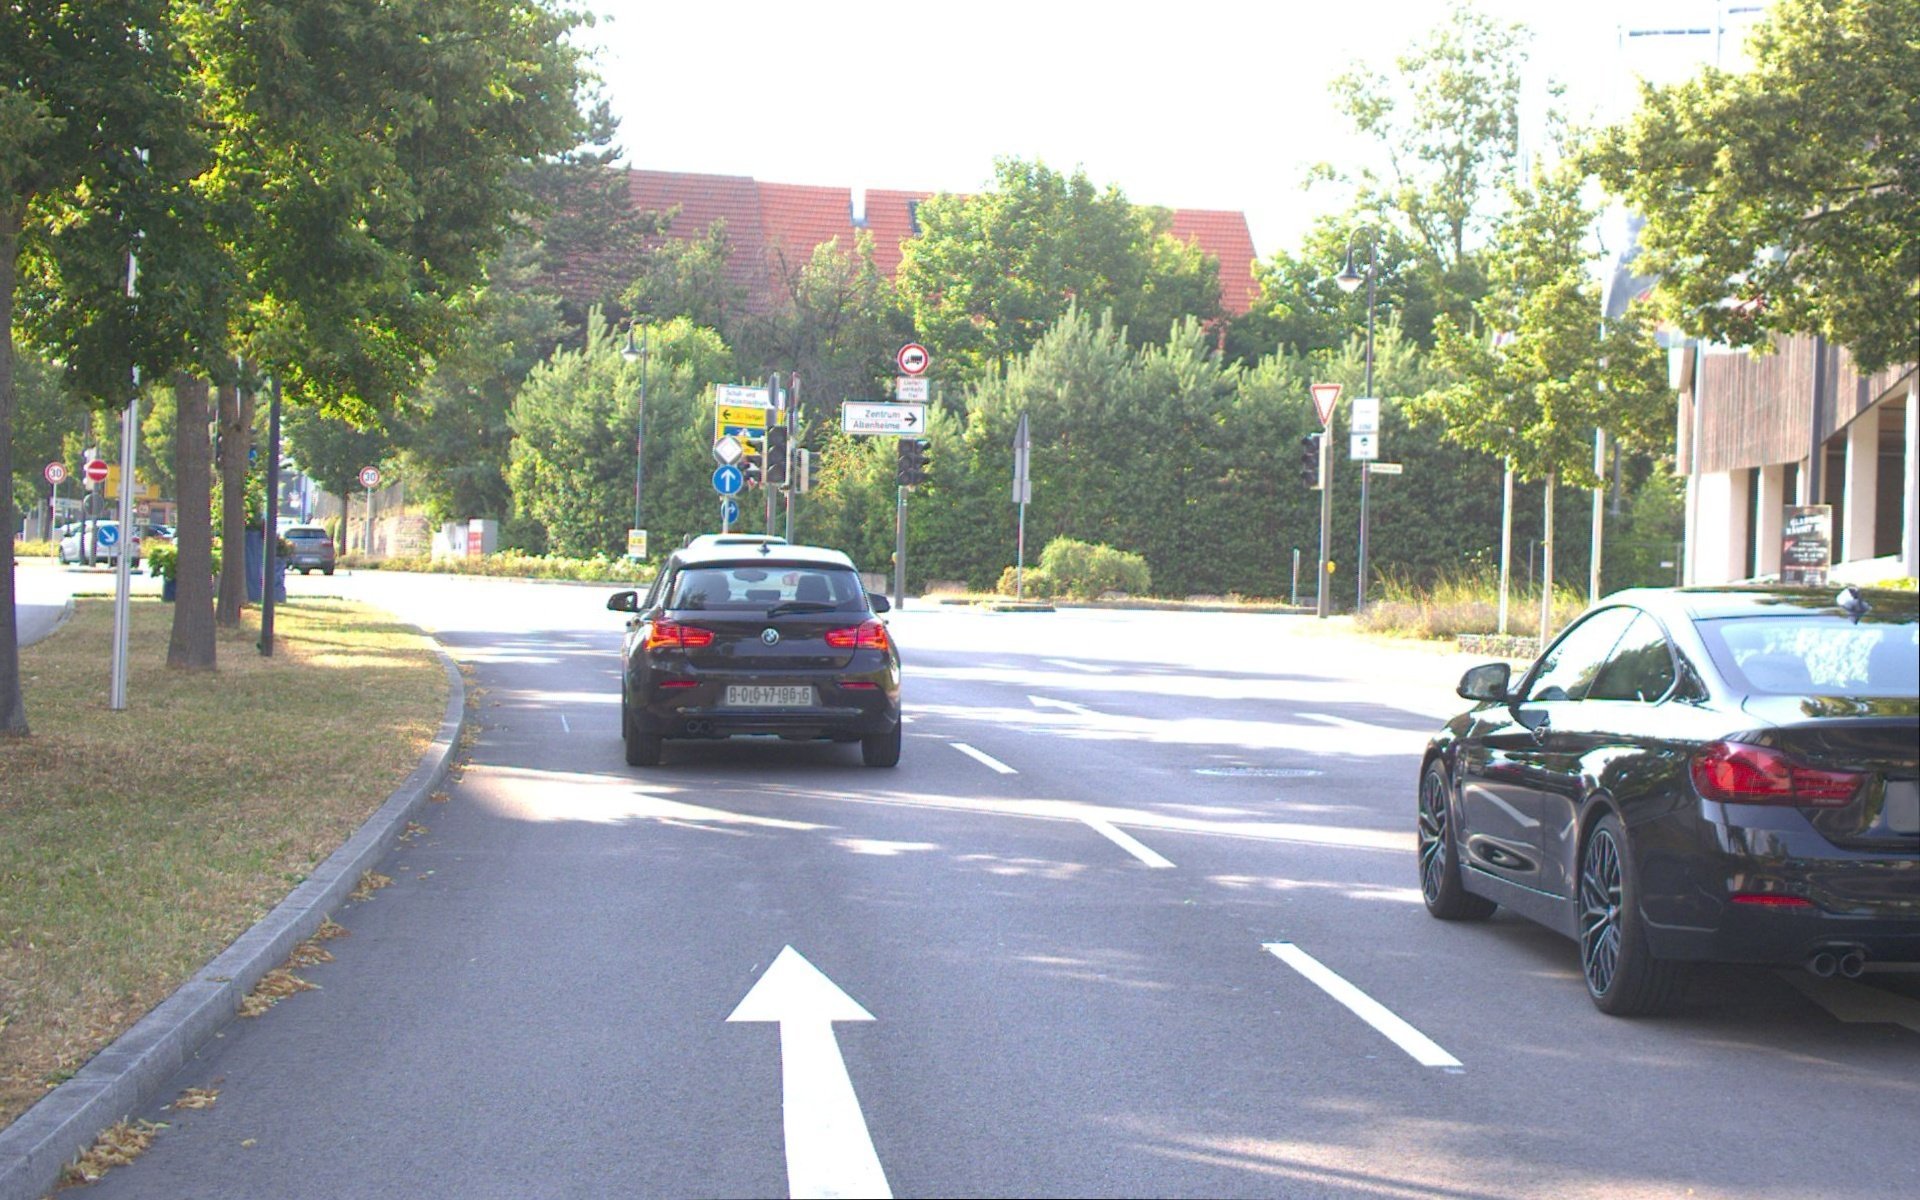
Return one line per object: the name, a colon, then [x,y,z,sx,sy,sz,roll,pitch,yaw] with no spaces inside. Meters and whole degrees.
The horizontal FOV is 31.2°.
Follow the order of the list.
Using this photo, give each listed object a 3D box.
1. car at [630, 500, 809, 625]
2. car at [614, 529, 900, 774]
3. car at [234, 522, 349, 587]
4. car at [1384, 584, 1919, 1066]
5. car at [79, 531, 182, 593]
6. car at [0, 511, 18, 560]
car: [-3.656,-0.580,51.586,1.924,1.763,4.456,1,1,-14]
car: [-1.474,0.289,23.526,1.720,1.485,4.354,2,1,-6]
car: [-19.575,-1.349,100.522,2.257,1.669,4.589,3,1,-23]
car: [2.839,0.654,12.199,1.920,1.359,4.353,1,1,-3]
car: [-25.521,-1.187,105.664,2.257,1.669,4.589,3,1,-23]
car: [-36.013,-2.377,125.271,2.216,1.763,4.455,1,1,-29]
